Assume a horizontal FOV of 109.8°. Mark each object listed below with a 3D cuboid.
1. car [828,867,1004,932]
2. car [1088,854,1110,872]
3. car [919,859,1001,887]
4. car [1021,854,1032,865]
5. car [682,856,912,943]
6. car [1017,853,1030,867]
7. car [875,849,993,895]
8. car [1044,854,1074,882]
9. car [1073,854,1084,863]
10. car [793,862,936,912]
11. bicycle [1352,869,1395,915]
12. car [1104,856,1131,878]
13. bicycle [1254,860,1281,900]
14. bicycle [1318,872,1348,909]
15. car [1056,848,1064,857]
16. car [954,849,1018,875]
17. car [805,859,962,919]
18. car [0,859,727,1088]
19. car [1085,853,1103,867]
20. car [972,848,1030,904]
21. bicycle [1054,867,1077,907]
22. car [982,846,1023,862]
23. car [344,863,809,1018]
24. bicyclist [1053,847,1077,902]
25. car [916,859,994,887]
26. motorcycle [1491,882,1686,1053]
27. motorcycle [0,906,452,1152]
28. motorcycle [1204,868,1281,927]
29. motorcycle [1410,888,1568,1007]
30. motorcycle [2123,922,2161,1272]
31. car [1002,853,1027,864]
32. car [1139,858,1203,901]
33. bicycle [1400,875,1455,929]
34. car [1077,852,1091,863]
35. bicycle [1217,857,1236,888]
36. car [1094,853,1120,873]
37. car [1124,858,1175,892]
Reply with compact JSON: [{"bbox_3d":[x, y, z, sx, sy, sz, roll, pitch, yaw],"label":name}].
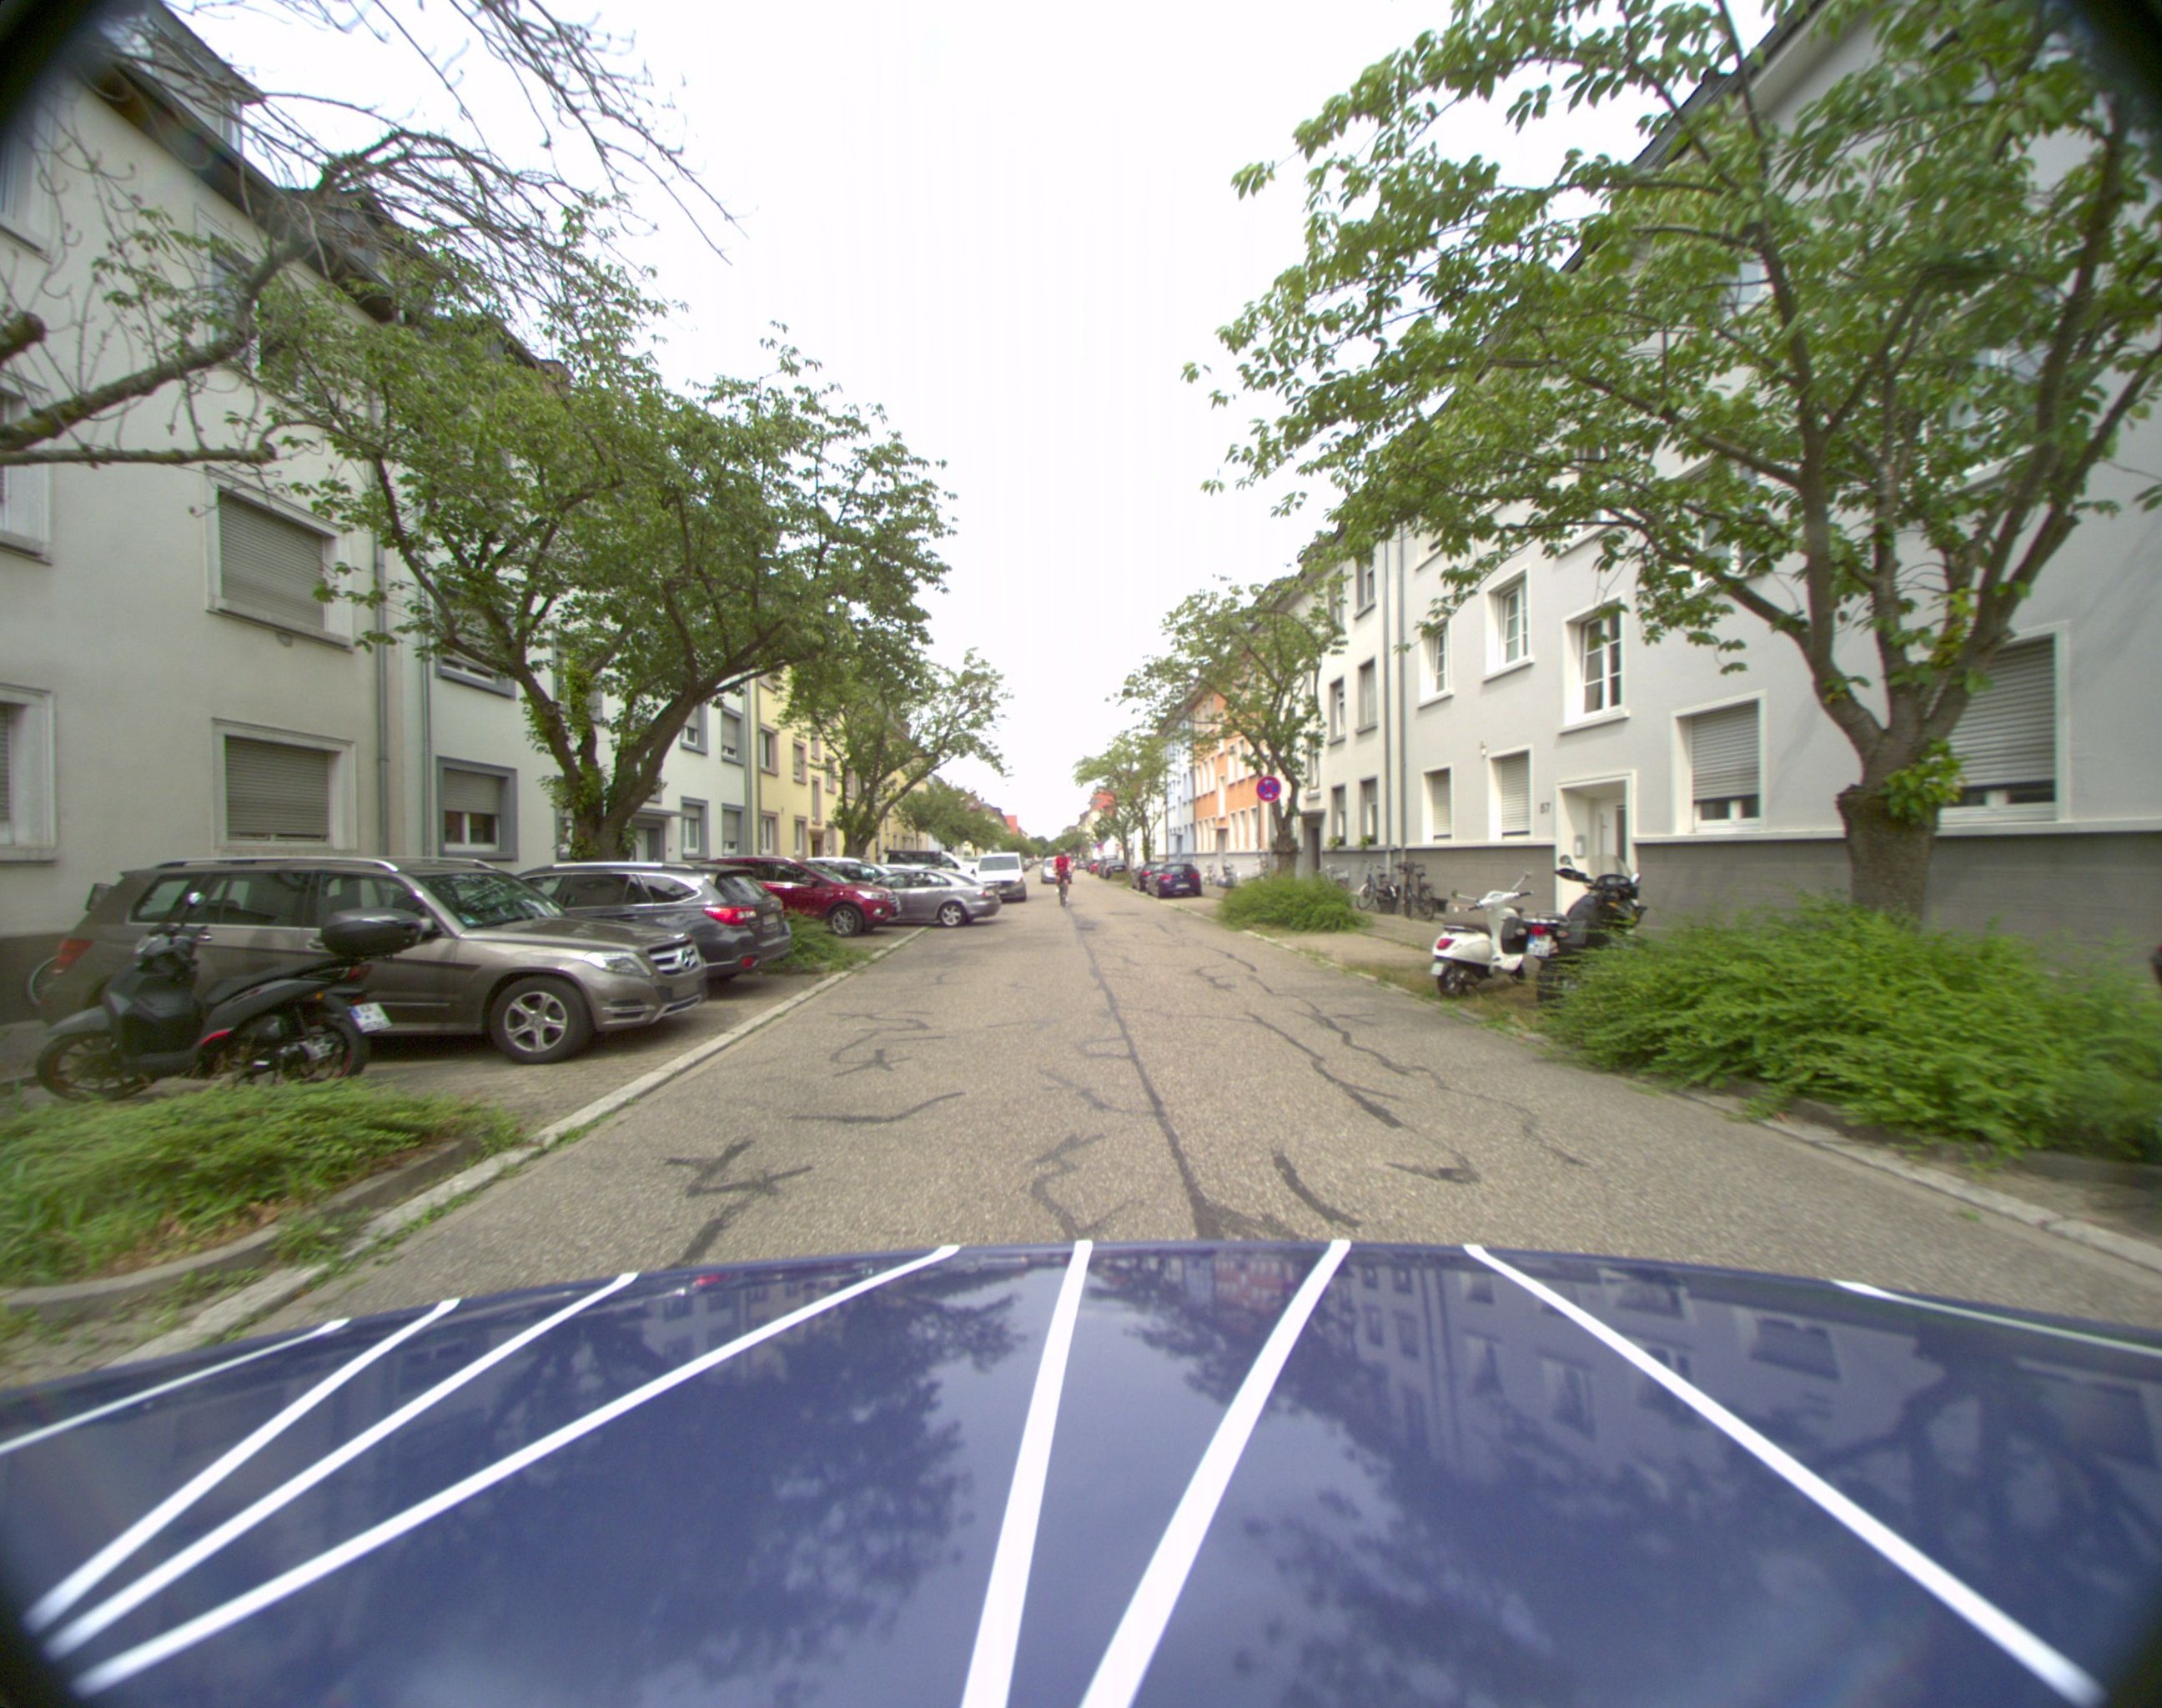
[{"bbox_3d":[-3.968,1.093,18.821,3.998,1.446,1.766,1,1,-3],"label":"car"},{"bbox_3d":[1.762,0.879,75.335,1.712,1.591,4.114,1,0,-4],"label":"car"},{"bbox_3d":[-7.078,1.132,44.800,4.560,1.501,1.849,1,1,-4],"label":"car"},{"bbox_3d":[-8.270,0.842,115.574,1.646,1.666,3.442,-1,0,-3],"label":"car"},{"bbox_3d":[-6.008,0.931,16.449,4.225,1.668,1.903,1,1,0],"label":"car"},{"bbox_3d":[-8.378,0.869,110.604,1.646,1.817,3.442,-1,1,-3],"label":"car"},{"bbox_3d":[-6.770,0.819,35.478,5.245,2.011,2.072,1,1,-6],"label":"car"},{"bbox_3d":[-1.418,0.821,47.592,1.788,1.595,4.834,-1,0,-3],"label":"car"},{"bbox_3d":[-0.461,0.826,134.215,1.711,1.495,3.442,1,1,-2],"label":"car"},{"bbox_3d":[-6.685,1.014,23.754,3.998,1.412,1.637,1,1,-3],"label":"car"},{"bbox_3d":[6.966,0.894,18.151,0.421,1.001,1.434,1,1,-1],"label":"bicycle"},{"bbox_3d":[2.696,0.950,56.970,1.706,1.533,4.248,-1,1,-1],"label":"car"},{"bbox_3d":[6.627,0.913,27.064,0.430,1.326,1.811,1,1,-1],"label":"bicycle"},{"bbox_3d":[6.997,1.001,21.168,0.310,0.961,1.434,1,1,-1],"label":"bicycle"},{"bbox_3d":[-5.028,-0.415,182.603,1.757,2.098,3.620,1,1,-2],"label":"car"},{"bbox_3d":[-7.338,0.602,59.060,4.751,1.899,1.850,1,1,-3],"label":"car"},{"bbox_3d":[-5.472,0.962,21.412,3.998,1.527,1.637,1,1,-3],"label":"car"},{"bbox_3d":[-5.575,0.892,6.458,4.227,1.588,1.903,1,1,-5],"label":"car"},{"bbox_3d":[1.438,0.636,85.253,1.712,1.477,3.441,1,1,-4],"label":"car"},{"bbox_3d":[-3.037,0.779,29.688,1.999,1.904,4.701,-2,1,-4],"label":"car"},{"bbox_3d":[-0.522,1.065,25.047,0.693,1.220,1.936,-2,1,-2],"label":"bicycle"},{"bbox_3d":[-9.339,-0.020,90.435,4.720,1.816,1.870,1,1,-2],"label":"car"},{"bbox_3d":[-5.702,0.960,9.097,4.227,1.588,1.903,1,1,-4],"label":"car"},{"bbox_3d":[-0.533,0.656,24.939,0.694,1.760,0.986,-2,1,-3],"label":"bicyclist"},{"bbox_3d":[-6.987,1.057,42.372,4.104,1.406,1.849,1,1,-4],"label":"car"},{"bbox_3d":[5.041,1.028,7.495,2.242,1.473,0.595,1,1,-29],"label":"motorcycle"},{"bbox_3d":[-5.622,1.090,5.014,2.232,1.401,0.715,-1,1,-5],"label":"motorcycle"},{"bbox_3d":[4.111,1.058,19.215,2.022,1.399,0.790,1,1,-40],"label":"motorcycle"},{"bbox_3d":[4.615,1.003,8.565,1.915,1.185,0.595,1,1,-29],"label":"motorcycle"},{"bbox_3d":[5.114,0.961,2.145,2.449,1.303,0.645,2,1,44],"label":"motorcycle"},{"bbox_3d":[-9.180,0.634,105.089,3.442,1.438,1.646,-1,0,-6],"label":"car"},{"bbox_3d":[3.642,0.989,31.452,1.841,1.475,4.119,-4,1,-4],"label":"car"},{"bbox_3d":[7.089,0.957,15.584,0.421,1.001,1.434,1,1,-1],"label":"bicycle"},{"bbox_3d":[0.444,0.448,106.140,1.712,1.438,3.441,1,1,-4],"label":"car"},{"bbox_3d":[6.428,0.789,33.565,0.430,1.326,1.811,1,1,-1],"label":"bicycle"},{"bbox_3d":[2.115,0.701,63.316,1.697,1.573,4.247,-2,1,-4],"label":"car"},{"bbox_3d":[3.313,0.981,37.492,1.841,1.475,4.091,-2,1,-4],"label":"car"}]
